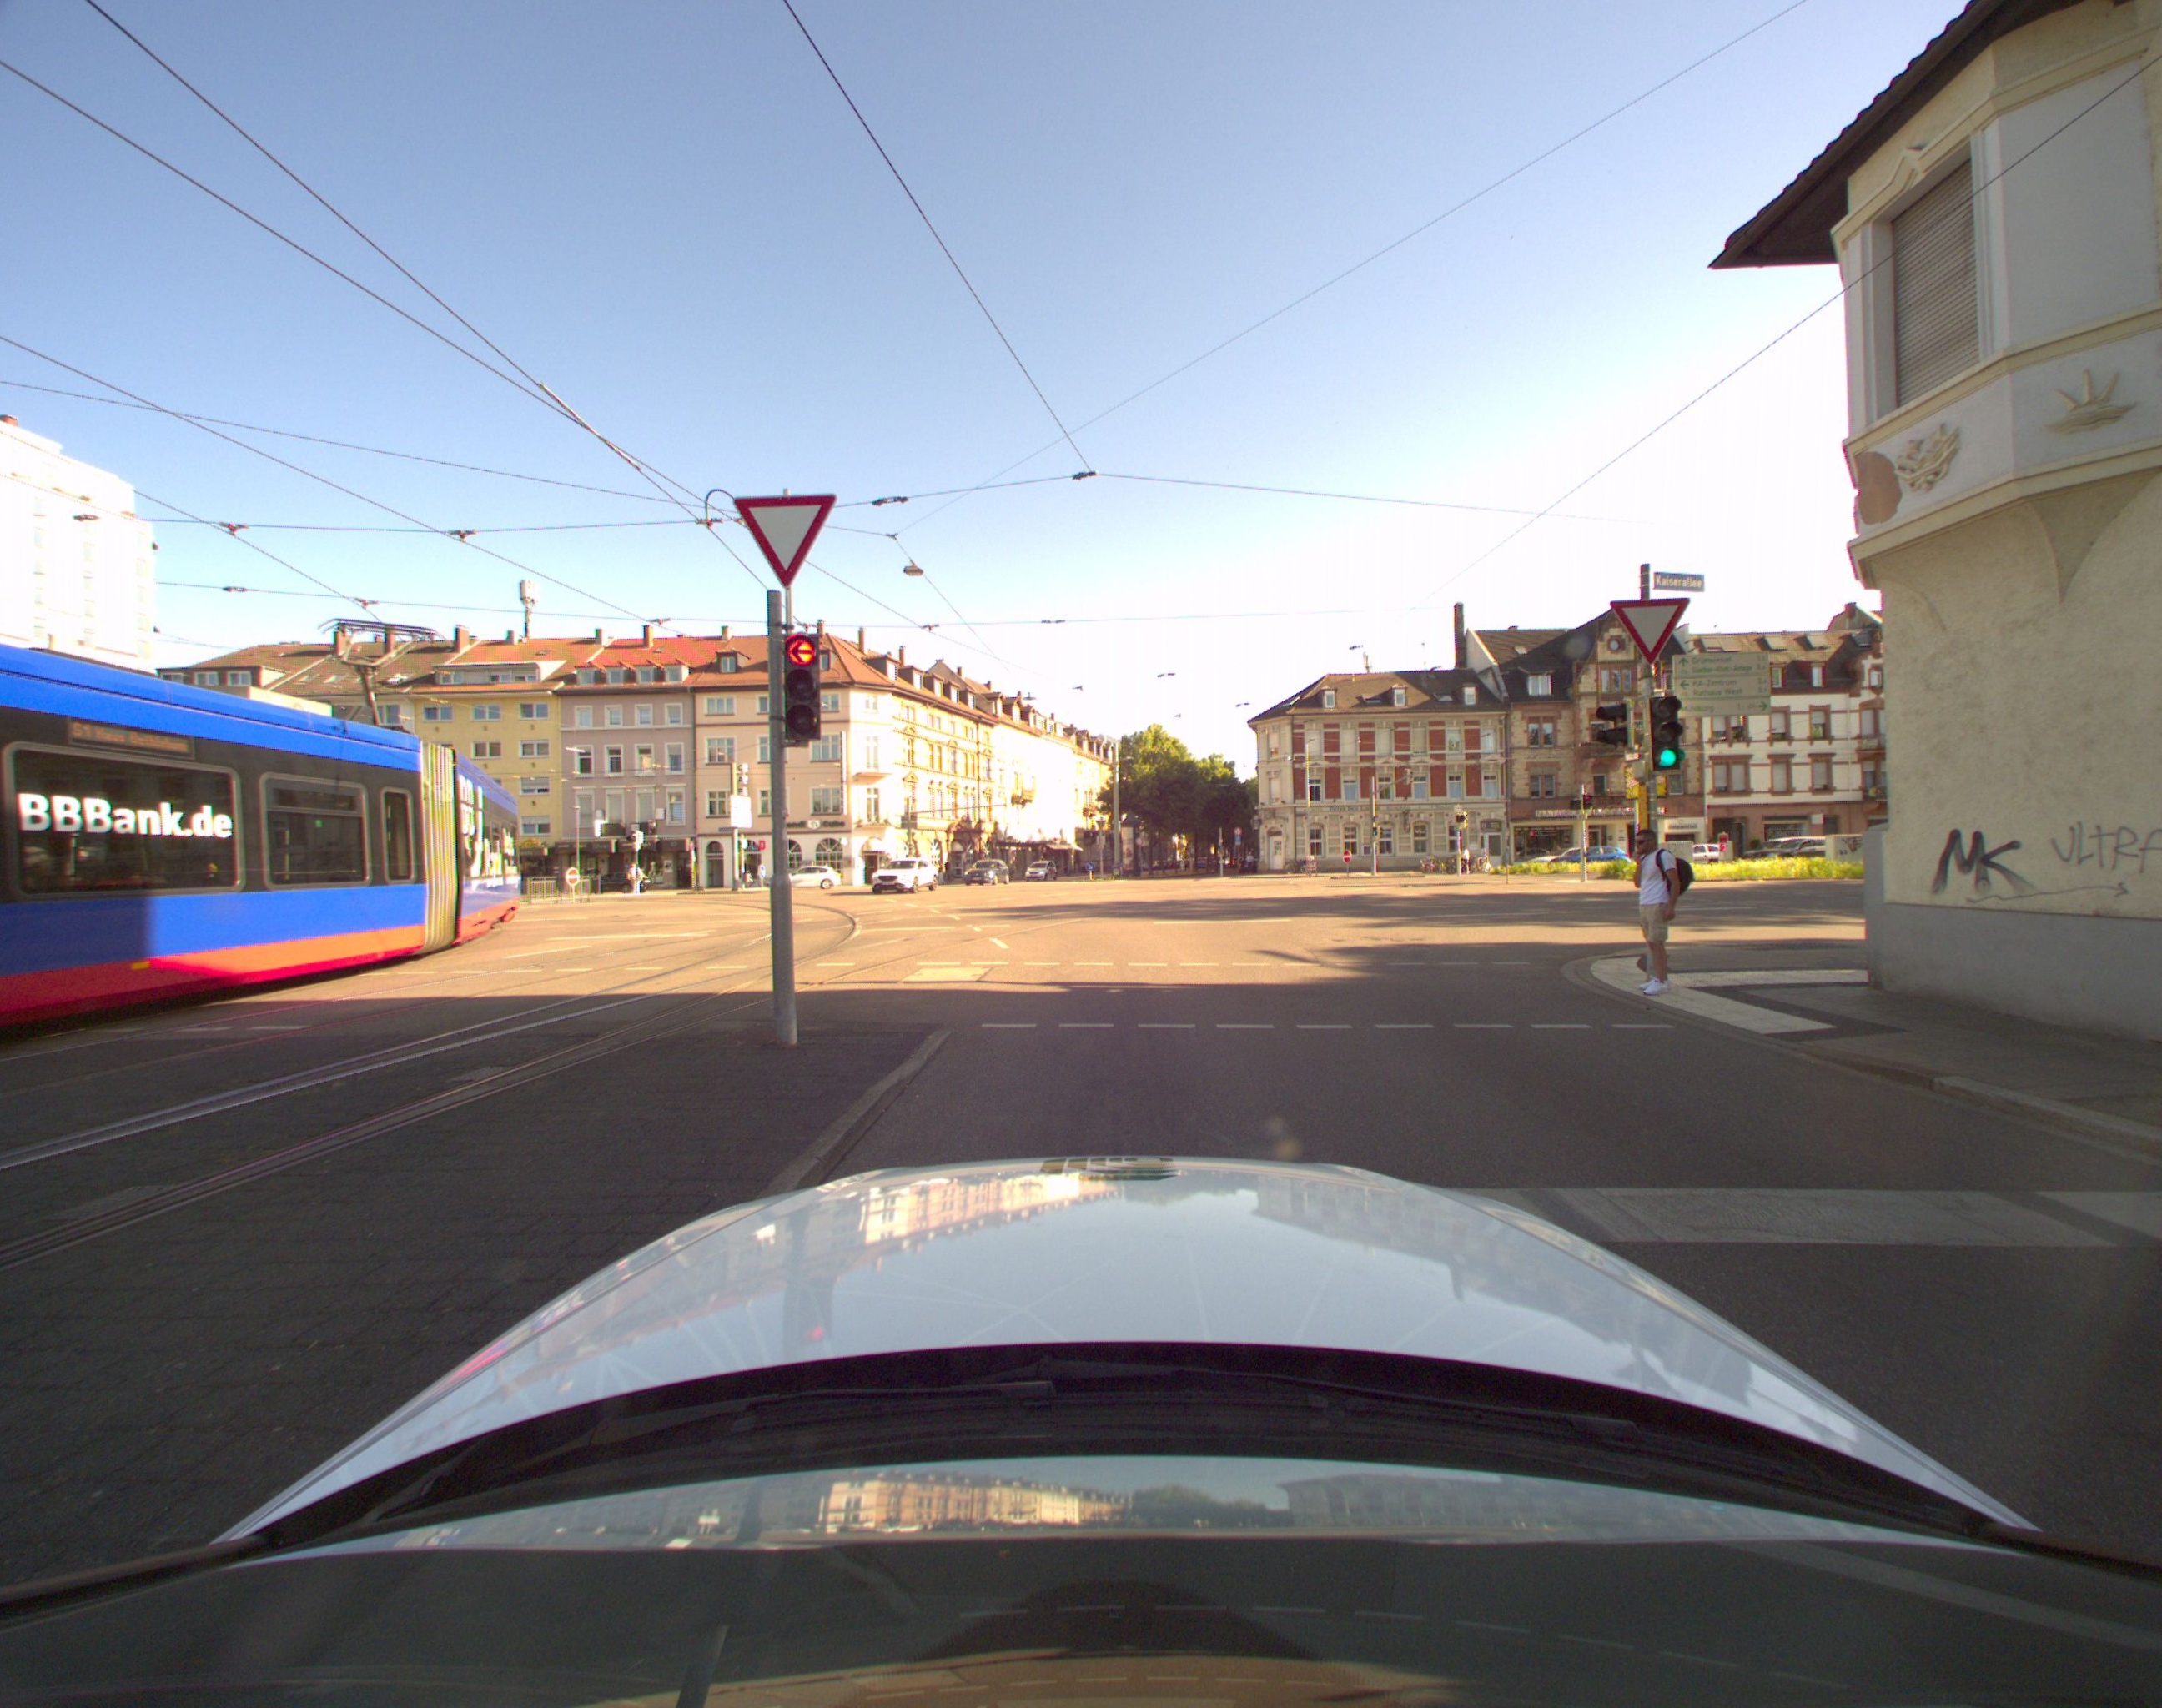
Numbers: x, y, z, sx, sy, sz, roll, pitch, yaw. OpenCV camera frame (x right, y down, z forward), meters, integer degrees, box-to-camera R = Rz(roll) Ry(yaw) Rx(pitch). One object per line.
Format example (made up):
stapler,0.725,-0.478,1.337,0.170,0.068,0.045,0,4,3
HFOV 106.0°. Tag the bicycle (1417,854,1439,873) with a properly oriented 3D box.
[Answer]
bicycle,22.499,0.636,52.787,0.674,1.191,1.969,-1,0,3

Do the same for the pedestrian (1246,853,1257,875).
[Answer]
pedestrian,12.943,0.736,61.900,0.710,1.669,0.943,-2,0,14

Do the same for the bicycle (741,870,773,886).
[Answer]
bicycle,-22.814,1.688,57.324,1.940,1.067,0.582,-1,0,-6

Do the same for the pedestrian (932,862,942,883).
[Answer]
pedestrian,-11.116,1.416,62.890,0.546,1.642,0.540,-2,0,17

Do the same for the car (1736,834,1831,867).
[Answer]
car,45.238,-0.203,52.518,4.388,1.965,1.955,-2,0,1

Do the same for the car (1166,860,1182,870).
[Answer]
car,15.560,1.874,136.368,1.978,1.497,4.051,-2,0,16

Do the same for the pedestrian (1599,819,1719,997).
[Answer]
pedestrian,6.049,0.541,8.542,0.691,1.740,0.668,-4,-1,-28

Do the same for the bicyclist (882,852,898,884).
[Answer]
bicyclist,-9.606,0.707,40.897,0.716,1.559,0.982,-1,0,-14

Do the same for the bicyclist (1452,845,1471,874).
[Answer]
bicyclist,23.623,0.330,50.533,0.869,1.764,0.602,-2,0,4

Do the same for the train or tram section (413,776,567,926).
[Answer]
train or tram section,-18.437,0.005,25.200,3.080,3.613,11.976,-1,0,-38

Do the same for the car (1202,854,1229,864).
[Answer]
car,22.155,0.863,133.986,3.949,1.545,2.012,-2,0,30

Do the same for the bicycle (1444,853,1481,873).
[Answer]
bicycle,23.643,0.574,50.527,1.952,1.191,0.602,-2,0,4

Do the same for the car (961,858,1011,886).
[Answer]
car,-5.465,0.989,47.401,1.764,1.497,4.582,-2,0,7

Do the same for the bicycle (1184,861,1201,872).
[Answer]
bicycle,11.335,1.277,82.665,0.586,1.067,1.928,-1,0,-34

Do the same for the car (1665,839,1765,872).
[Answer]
car,34.808,0.080,44.785,3.973,1.668,1.955,-2,0,1

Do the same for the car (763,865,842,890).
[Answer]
car,-16.690,1.370,48.804,4.229,1.355,1.983,-1,0,-25

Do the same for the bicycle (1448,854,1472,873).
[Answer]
bicycle,24.523,0.593,52.757,0.674,1.191,1.969,-1,0,3

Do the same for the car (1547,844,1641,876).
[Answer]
car,28.320,0.327,45.050,3.973,1.668,1.955,-2,0,1

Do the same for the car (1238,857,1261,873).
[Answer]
car,17.017,1.140,82.187,1.978,1.497,4.051,-2,0,16

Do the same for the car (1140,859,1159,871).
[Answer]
car,9.905,1.578,117.324,1.978,1.497,4.051,-2,0,16

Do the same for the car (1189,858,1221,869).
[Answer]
car,17.532,1.333,115.446,3.949,1.545,2.012,-2,0,30

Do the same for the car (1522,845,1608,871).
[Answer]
car,28.512,0.249,48.043,3.973,1.412,1.846,-2,0,1

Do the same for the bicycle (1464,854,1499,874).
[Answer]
bicycle,25.747,0.629,52.329,1.961,1.191,0.677,-1,0,-10

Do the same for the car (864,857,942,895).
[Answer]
car,-7.643,0.899,35.381,1.983,1.497,4.355,-2,0,6

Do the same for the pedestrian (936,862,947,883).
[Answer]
pedestrian,-10.889,1.465,63.576,0.546,1.642,0.635,-2,0,14

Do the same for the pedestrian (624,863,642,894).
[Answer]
pedestrian,-24.144,1.319,43.890,0.730,1.627,0.664,-1,0,-34

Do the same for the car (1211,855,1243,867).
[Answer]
car,20.818,1.002,116.223,3.948,1.545,2.013,-2,0,32

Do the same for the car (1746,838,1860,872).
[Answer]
car,39.581,0.055,44.723,4.456,1.668,1.955,-2,0,1

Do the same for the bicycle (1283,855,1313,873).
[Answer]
bicycle,15.191,0.709,56.980,1.950,1.191,0.547,-2,0,6

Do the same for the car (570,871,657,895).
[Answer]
car,-30.698,1.878,53.549,4.626,1.440,1.743,-1,-1,-1

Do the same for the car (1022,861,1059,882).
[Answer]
car,-3.126,1.311,63.254,1.705,1.497,3.599,-2,0,16

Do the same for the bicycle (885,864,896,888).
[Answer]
bicycle,-9.564,1.071,40.915,0.485,1.166,2.047,-1,0,-13

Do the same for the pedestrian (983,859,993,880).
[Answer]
pedestrian,-8.271,1.377,72.571,0.676,1.908,0.636,-2,0,18

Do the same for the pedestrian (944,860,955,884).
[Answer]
pedestrian,-10.255,1.410,63.544,0.575,1.836,0.636,-2,0,18

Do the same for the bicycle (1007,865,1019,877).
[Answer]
bicycle,-6.707,1.672,79.889,0.491,1.067,1.778,-2,0,18

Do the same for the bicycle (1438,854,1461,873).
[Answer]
bicycle,23.850,0.614,52.781,0.674,1.191,1.969,-1,0,3

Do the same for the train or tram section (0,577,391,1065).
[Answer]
train or tram section,-9.240,-0.225,3.795,3.053,3.613,12.082,-1,0,-8

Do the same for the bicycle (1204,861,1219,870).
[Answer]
bicycle,15.874,1.351,99.059,0.586,1.067,1.928,-1,0,-34

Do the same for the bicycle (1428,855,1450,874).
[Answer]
bicycle,23.201,0.647,52.796,0.674,1.191,1.969,-1,0,3

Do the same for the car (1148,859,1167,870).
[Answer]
car,11.522,1.611,122.524,1.978,1.497,4.051,-2,0,16

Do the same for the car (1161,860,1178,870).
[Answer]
car,14.279,1.770,131.650,1.978,1.497,4.051,-2,0,16

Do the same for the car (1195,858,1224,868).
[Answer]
car,20.202,1.437,128.030,3.949,1.545,2.012,-2,0,30

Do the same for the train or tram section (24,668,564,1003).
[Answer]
train or tram section,-12.495,-0.159,15.091,3.069,3.613,12.402,-1,0,-24
